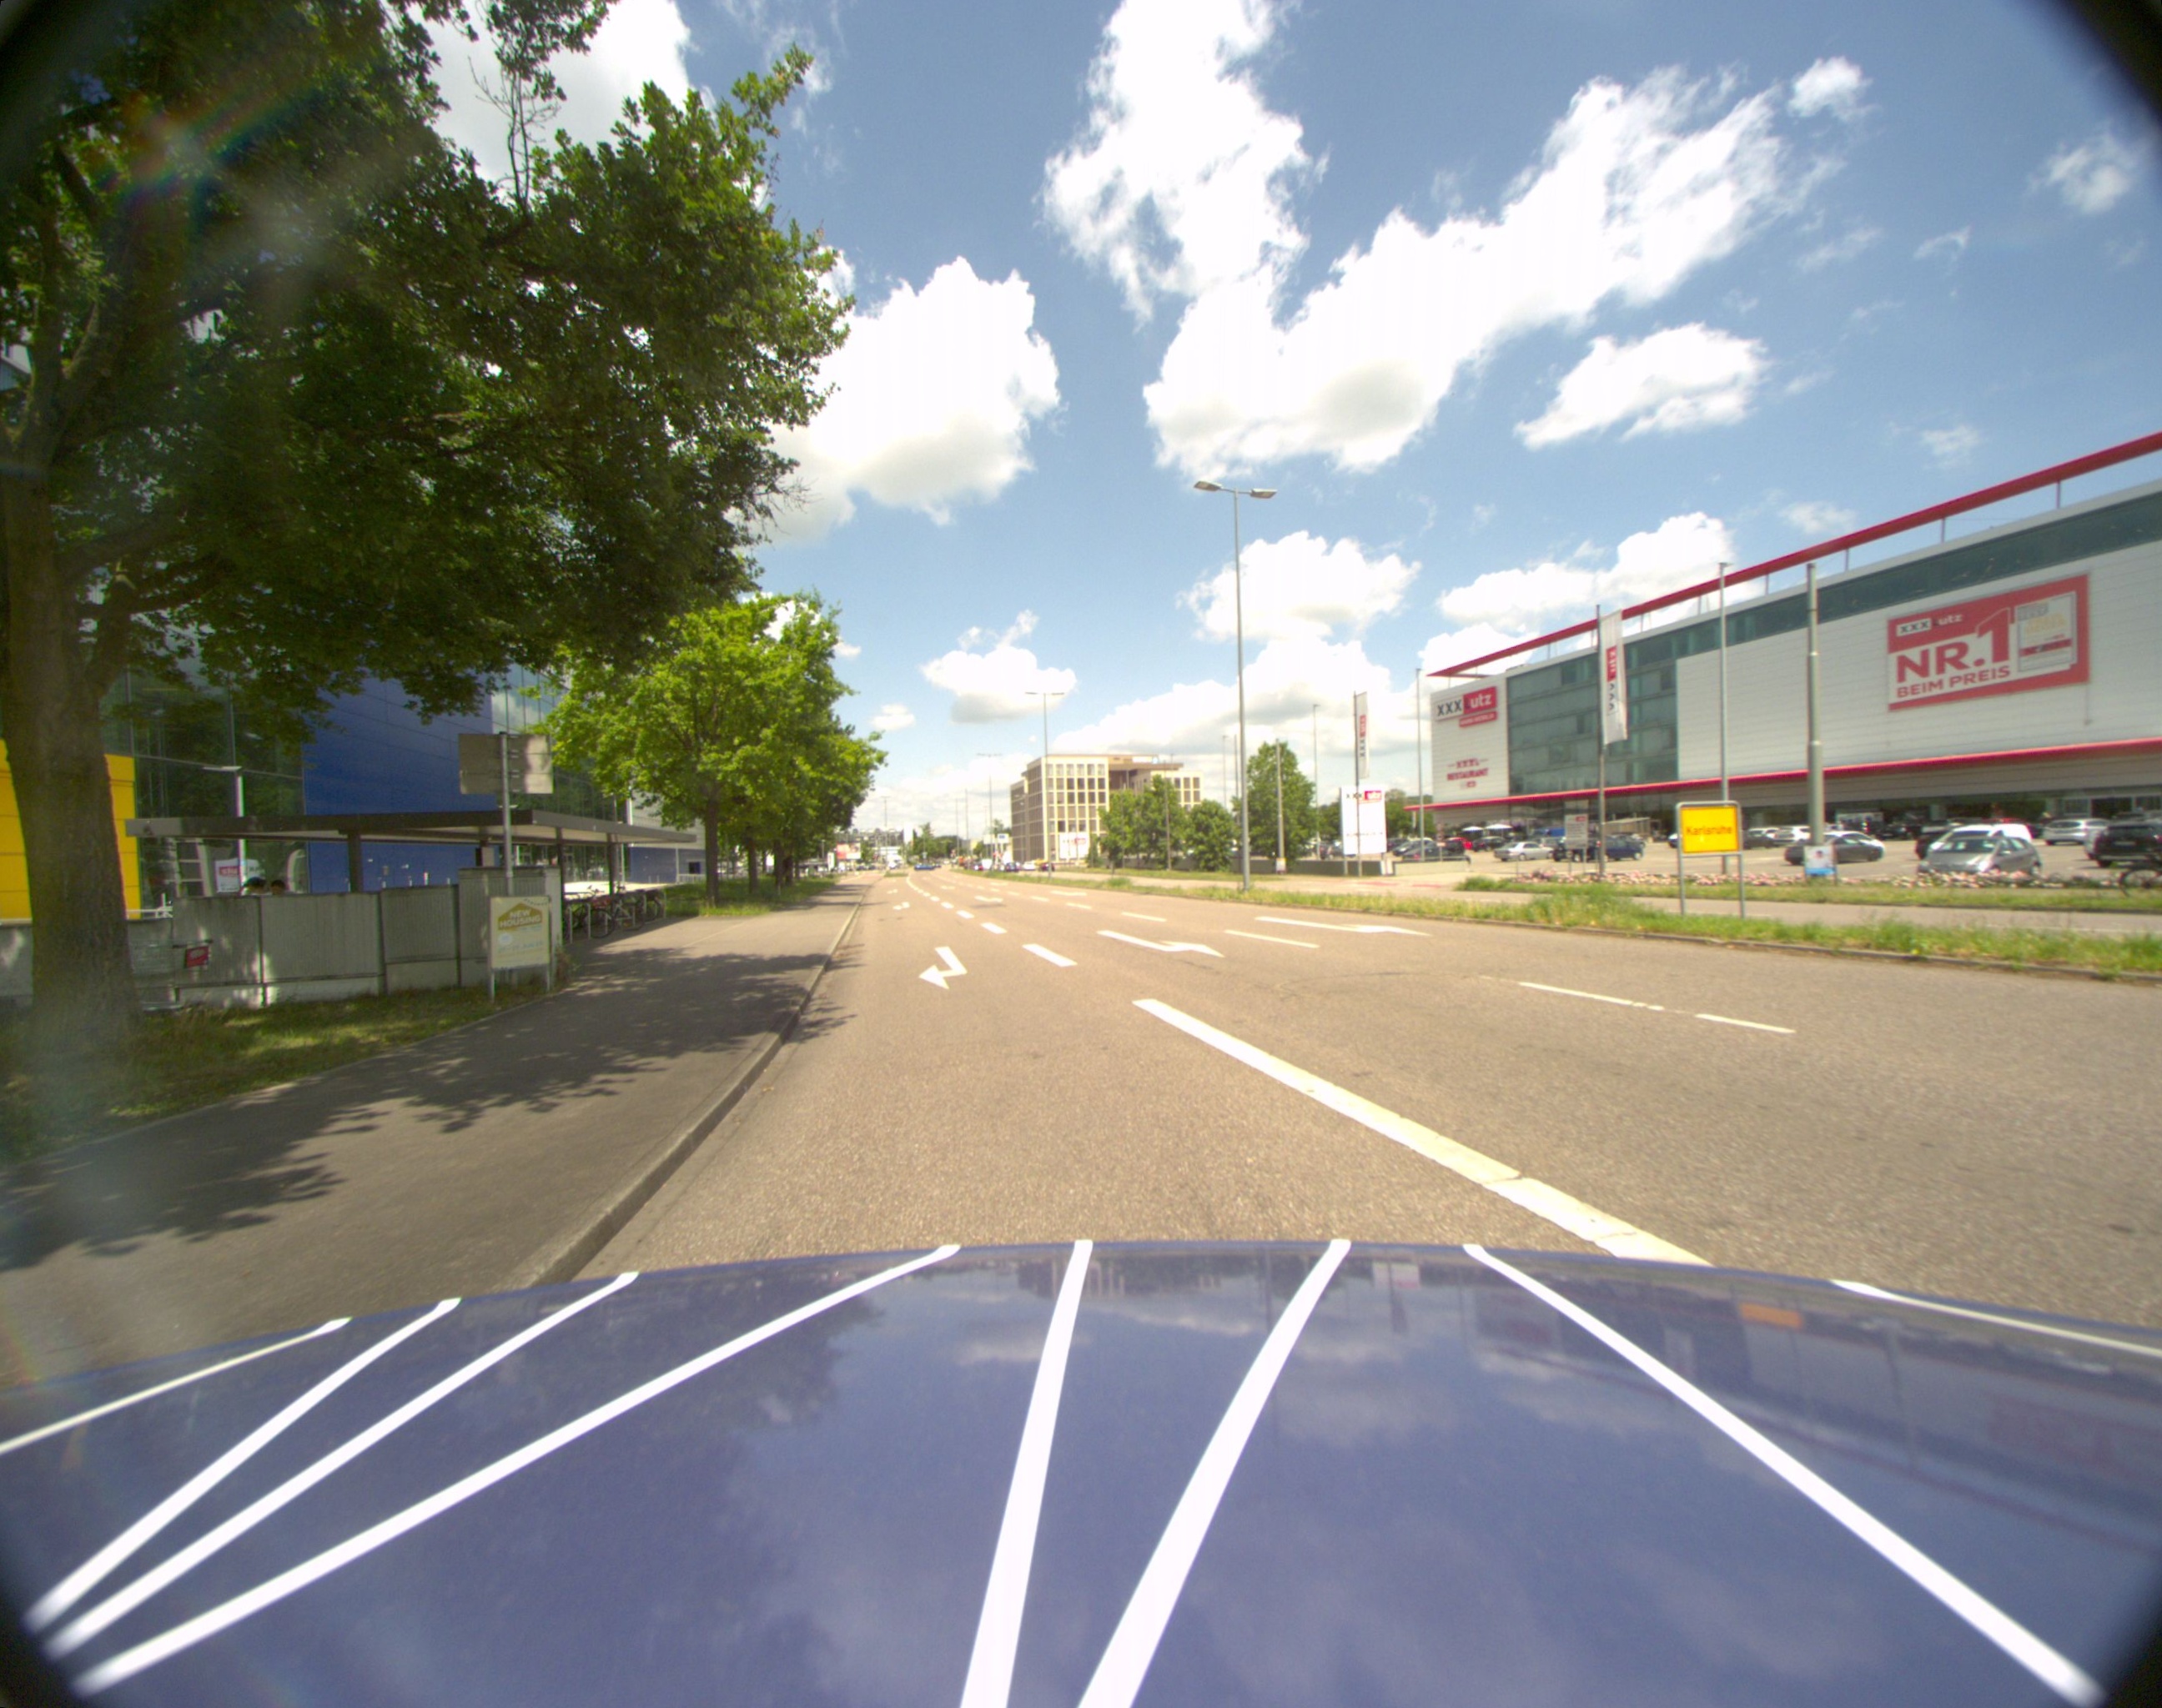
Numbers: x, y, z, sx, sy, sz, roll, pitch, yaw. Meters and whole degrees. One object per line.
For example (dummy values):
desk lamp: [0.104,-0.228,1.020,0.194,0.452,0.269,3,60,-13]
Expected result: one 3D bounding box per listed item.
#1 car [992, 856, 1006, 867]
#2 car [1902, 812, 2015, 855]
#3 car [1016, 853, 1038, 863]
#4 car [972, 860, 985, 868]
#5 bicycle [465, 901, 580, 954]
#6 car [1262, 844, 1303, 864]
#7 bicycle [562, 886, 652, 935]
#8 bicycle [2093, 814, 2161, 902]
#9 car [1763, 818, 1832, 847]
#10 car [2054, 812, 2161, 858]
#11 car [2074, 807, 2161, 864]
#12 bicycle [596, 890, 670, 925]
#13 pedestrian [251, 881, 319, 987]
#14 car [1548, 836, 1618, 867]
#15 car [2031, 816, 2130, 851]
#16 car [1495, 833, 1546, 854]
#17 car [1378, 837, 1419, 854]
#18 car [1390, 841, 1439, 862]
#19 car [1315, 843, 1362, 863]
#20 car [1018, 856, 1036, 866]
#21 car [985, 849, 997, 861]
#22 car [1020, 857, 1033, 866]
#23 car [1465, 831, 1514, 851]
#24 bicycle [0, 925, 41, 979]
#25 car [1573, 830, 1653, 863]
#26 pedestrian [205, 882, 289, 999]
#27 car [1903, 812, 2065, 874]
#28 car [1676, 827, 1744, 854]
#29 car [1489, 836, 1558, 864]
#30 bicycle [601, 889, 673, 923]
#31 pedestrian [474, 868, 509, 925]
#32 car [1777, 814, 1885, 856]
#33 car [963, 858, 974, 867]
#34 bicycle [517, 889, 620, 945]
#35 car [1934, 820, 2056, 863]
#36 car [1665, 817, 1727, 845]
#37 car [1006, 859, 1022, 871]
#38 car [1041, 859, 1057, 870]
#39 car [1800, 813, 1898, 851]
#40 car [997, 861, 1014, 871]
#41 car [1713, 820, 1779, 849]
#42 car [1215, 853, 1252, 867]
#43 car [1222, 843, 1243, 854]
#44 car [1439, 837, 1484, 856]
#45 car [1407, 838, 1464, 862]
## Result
car: [-13.373,1.181,123.438,1.798,1.691,4.223,-2,-1,-13]
car: [43.715,-0.997,37.884,4.365,1.977,1.997,-2,1,-15]
car: [-10.845,0.828,152.750,4.001,2.002,1.998,-2,0,-11]
car: [-16.787,1.642,124.558,1.798,1.243,4.302,-2,-1,-13]
bicycle: [-11.630,1.518,15.872,1.869,0.989,0.423,-1,0,-19]
car: [24.888,0.038,93.811,4.365,2.315,1.997,-2,1,-15]
bicycle: [-12.172,1.444,19.539,1.903,1.163,0.423,-1,0,-13]
bicycle: [21.009,0.064,14.333,1.021,1.665,2.046,-2,0,-14]
car: [54.813,-1.615,58.117,4.002,2.002,1.997,-2,0,-15]
car: [45.367,-0.854,33.202,4.365,1.871,1.997,-2,1,-15]
car: [41.139,-0.752,29.237,4.599,1.978,1.997,-3,2,-15]
bicycle: [-13.396,1.581,22.769,1.869,0.989,0.423,0,0,-19]
pedestrian: [-12.999,1.286,12.421,0.546,1.652,0.477,-2,0,-16]
car: [35.331,-0.183,53.447,4.087,1.978,1.840,-3,1,-16]
car: [58.003,-1.196,44.101,4.365,1.871,1.997,-2,1,-15]
car: [44.411,-1.012,76.791,4.365,1.977,1.997,-2,1,-15]
car: [39.757,-1.110,95.114,4.365,1.977,1.997,-2,1,-15]
car: [34.559,-0.283,78.697,4.303,2.031,1.989,-2,1,-15]
car: [27.839,-0.083,82.146,4.365,1.977,1.998,-2,-1,-15]
car: [-8.729,1.173,122.292,1.626,1.464,4.351,-2,-1,-22]
car: [-16.216,0.209,137.064,1.864,2.031,3.573,-2,0,-11]
car: [-9.233,1.255,129.239,1.625,1.383,4.579,-2,-1,-11]
car: [43.624,-1.425,81.177,4.365,1.977,1.997,-2,1,-15]
bicycle: [-19.343,1.719,13.047,1.869,0.876,0.470,-1,0,-14]
car: [35.738,-0.477,51.049,4.365,1.978,1.997,-3,1,-15]
pedestrian: [-12.374,1.260,11.286,0.545,1.653,0.546,-2,1,-4]
car: [31.631,-0.376,26.644,4.365,1.977,1.997,-2,1,-15]
car: [49.516,-1.047,59.826,4.365,1.977,1.997,-2,1,-15]
car: [33.705,-0.278,57.901,4.365,1.977,1.997,-2,1,-15]
bicycle: [-13.552,1.581,23.233,1.869,0.989,0.423,0,0,-19]
pedestrian: [-18.142,1.303,23.392,0.523,1.712,0.636,0,2,24]
car: [38.346,-0.942,38.881,4.365,1.977,1.997,-2,1,-15]
car: [-20.126,1.516,136.077,1.798,1.635,4.167,-2,-1,-11]
bicycle: [-11.680,1.423,17.369,1.869,1.180,0.423,-1,0,-19]
car: [42.235,-0.572,35.136,4.365,1.829,1.997,-2,0,-15]
car: [53.320,-2.000,65.882,4.573,2.293,1.867,-2,1,-15]
car: [-8.992,1.439,101.786,1.745,1.466,3.672,-2,1,-10]
car: [-4.530,1.451,107.243,1.625,1.461,4.113,-2,0,-10]
car: [43.150,-1.227,42.710,4.365,1.978,1.997,-2,2,-15]
car: [-11.004,1.781,110.276,1.798,1.409,4.669,0,0,-13]
car: [49.876,-1.442,56.983,4.002,2.002,1.775,-2,0,-15]
car: [18.705,0.705,93.296,4.001,1.586,1.844,-2,0,-12]
car: [26.391,-0.940,132.228,1.857,1.822,3.828,-2,0,-17]
car: [43.322,-0.881,86.510,4.365,1.977,1.997,-2,1,-15]
car: [31.824,-0.324,68.270,4.365,1.977,1.997,-2,1,-15]
